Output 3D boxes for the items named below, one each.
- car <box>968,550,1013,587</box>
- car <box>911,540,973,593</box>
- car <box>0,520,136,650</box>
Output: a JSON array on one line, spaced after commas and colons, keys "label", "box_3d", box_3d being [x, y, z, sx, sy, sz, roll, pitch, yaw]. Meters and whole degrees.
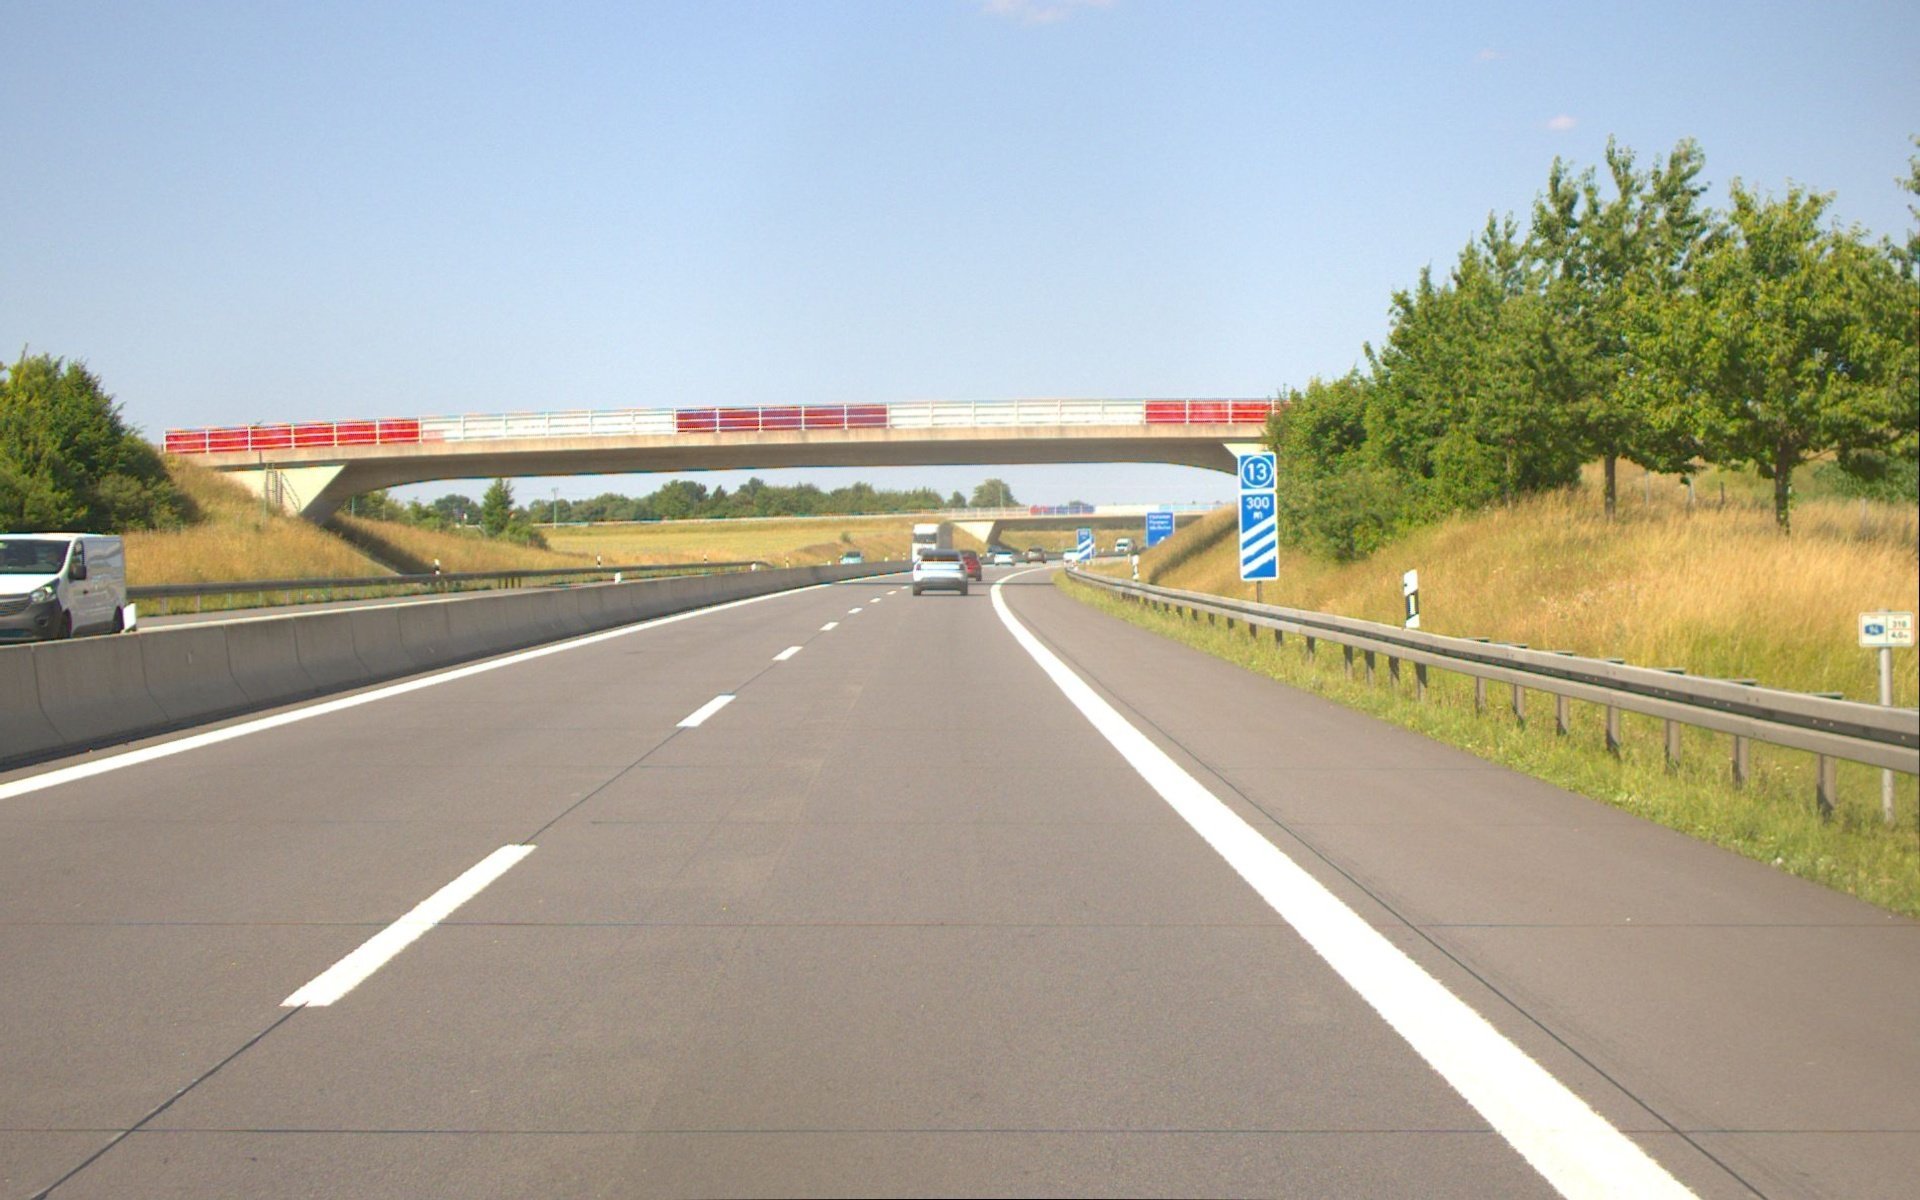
[{"label": "car", "box_3d": [1.512, -1.567, 168.042, 1.994, 1.725, 4.869, -1, 1, 2]}, {"label": "car", "box_3d": [-0.630, -1.136, 116.044, 1.993, 1.725, 4.869, -1, 1, -1]}, {"label": "car", "box_3d": [-15.107, -0.257, 56.218, 1.993, 2.007, 5.716, 1, 0, -1]}]
